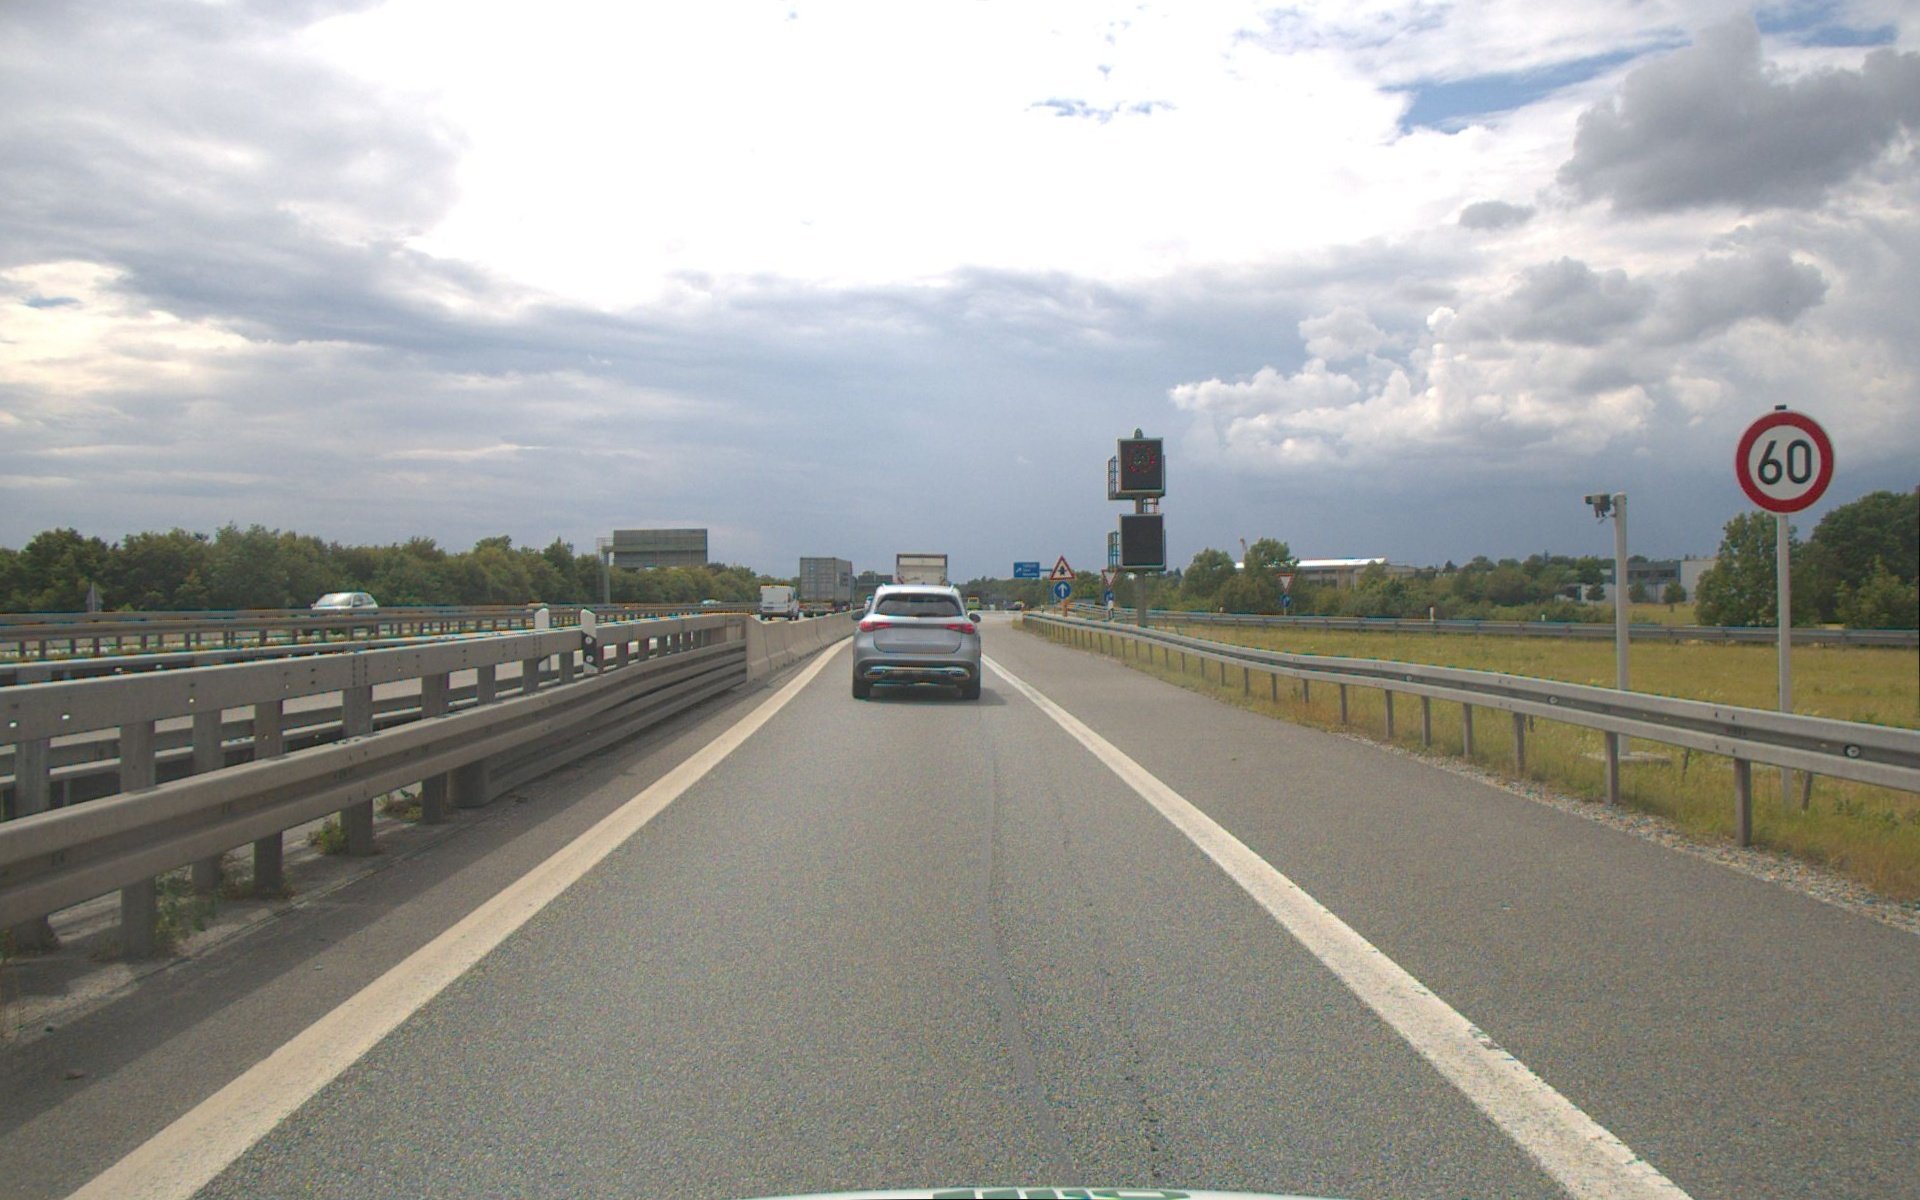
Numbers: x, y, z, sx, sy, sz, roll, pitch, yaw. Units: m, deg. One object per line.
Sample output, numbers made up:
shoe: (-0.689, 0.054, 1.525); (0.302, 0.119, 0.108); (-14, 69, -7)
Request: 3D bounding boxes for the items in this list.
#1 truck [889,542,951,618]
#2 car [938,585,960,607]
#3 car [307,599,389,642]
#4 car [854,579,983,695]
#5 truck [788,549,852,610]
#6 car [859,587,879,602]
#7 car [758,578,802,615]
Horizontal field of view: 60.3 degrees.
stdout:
truck: (-1.703, -0.853, 73.627); (2.516, 3.180, 8.634); (0, 0, 0)
car: (-1.011, -0.396, 157.562); (1.952, 2.048, 4.376); (0, 1, 2)
car: (-26.038, 0.856, 70.486); (1.708, 1.650, 4.518); (0, 1, 1)
car: (-0.592, 0.493, 24.940); (1.782, 1.540, 4.000); (0, 1, 0)
truck: (-9.939, -1.562, 119.260); (3.118, 4.088, 16.078); (0, 1, 1)
car: (-8.944, -0.547, 163.079); (1.661, 1.310, 4.001); (1, 1, 2)
car: (-10.504, -0.221, 96.536); (1.952, 2.048, 4.376); (0, 1, 2)
